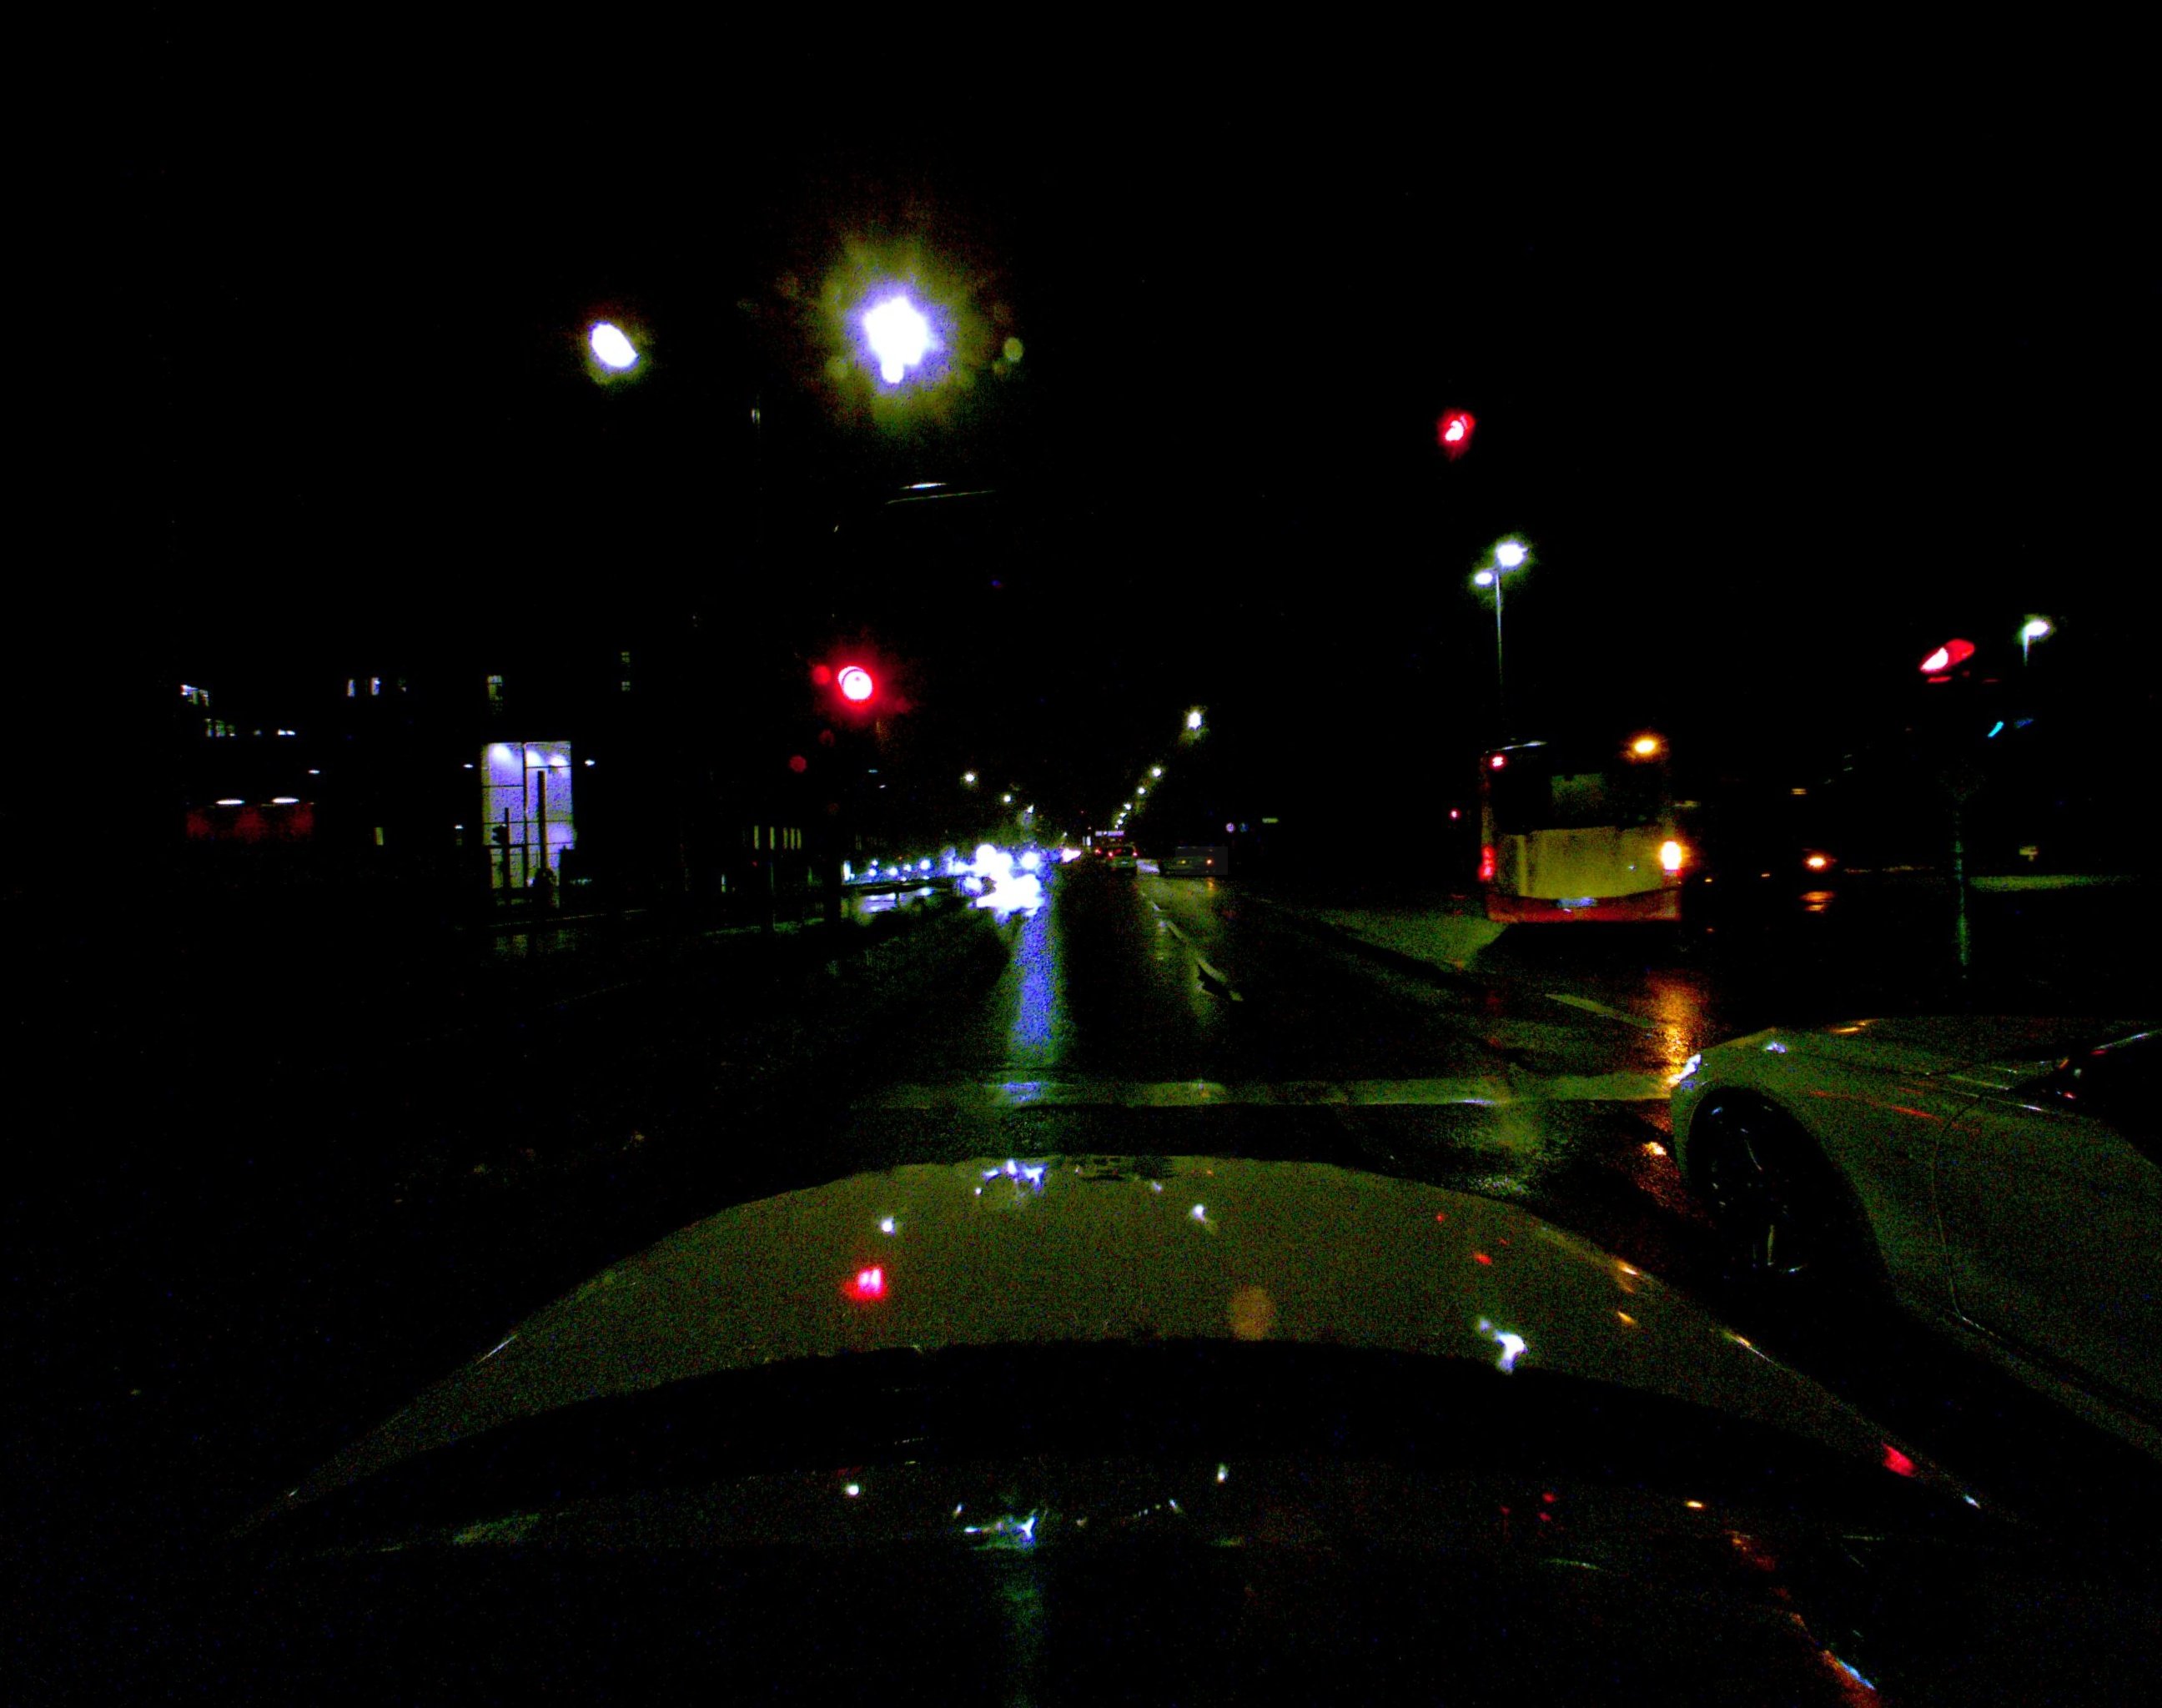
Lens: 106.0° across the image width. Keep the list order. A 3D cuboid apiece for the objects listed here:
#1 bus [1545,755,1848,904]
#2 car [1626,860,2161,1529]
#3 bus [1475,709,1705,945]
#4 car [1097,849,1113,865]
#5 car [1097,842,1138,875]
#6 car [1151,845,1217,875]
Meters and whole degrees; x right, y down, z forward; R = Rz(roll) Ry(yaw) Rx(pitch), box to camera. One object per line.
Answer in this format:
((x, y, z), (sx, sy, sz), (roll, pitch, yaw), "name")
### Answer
((15.979, -0.554, 20.800), (9.793, 3.123, 2.750), (-1, 0, -31), "bus")
((3.122, 0.717, 1.288), (1.710, 1.404, 4.351), (0, -1, 2), "car")
((9.852, -0.388, 15.590), (2.742, 3.123, 9.824), (0, 0, 34), "bus")
((3.298, 0.484, 113.346), (2.128, 2.145, 4.927), (0, -1, 0), "car")
((2.148, 0.281, 49.295), (1.789, 1.874, 4.617), (0, -1, -6), "car")
((5.846, 0.345, 46.735), (1.799, 1.679, 4.393), (0, -1, -24), "car")
